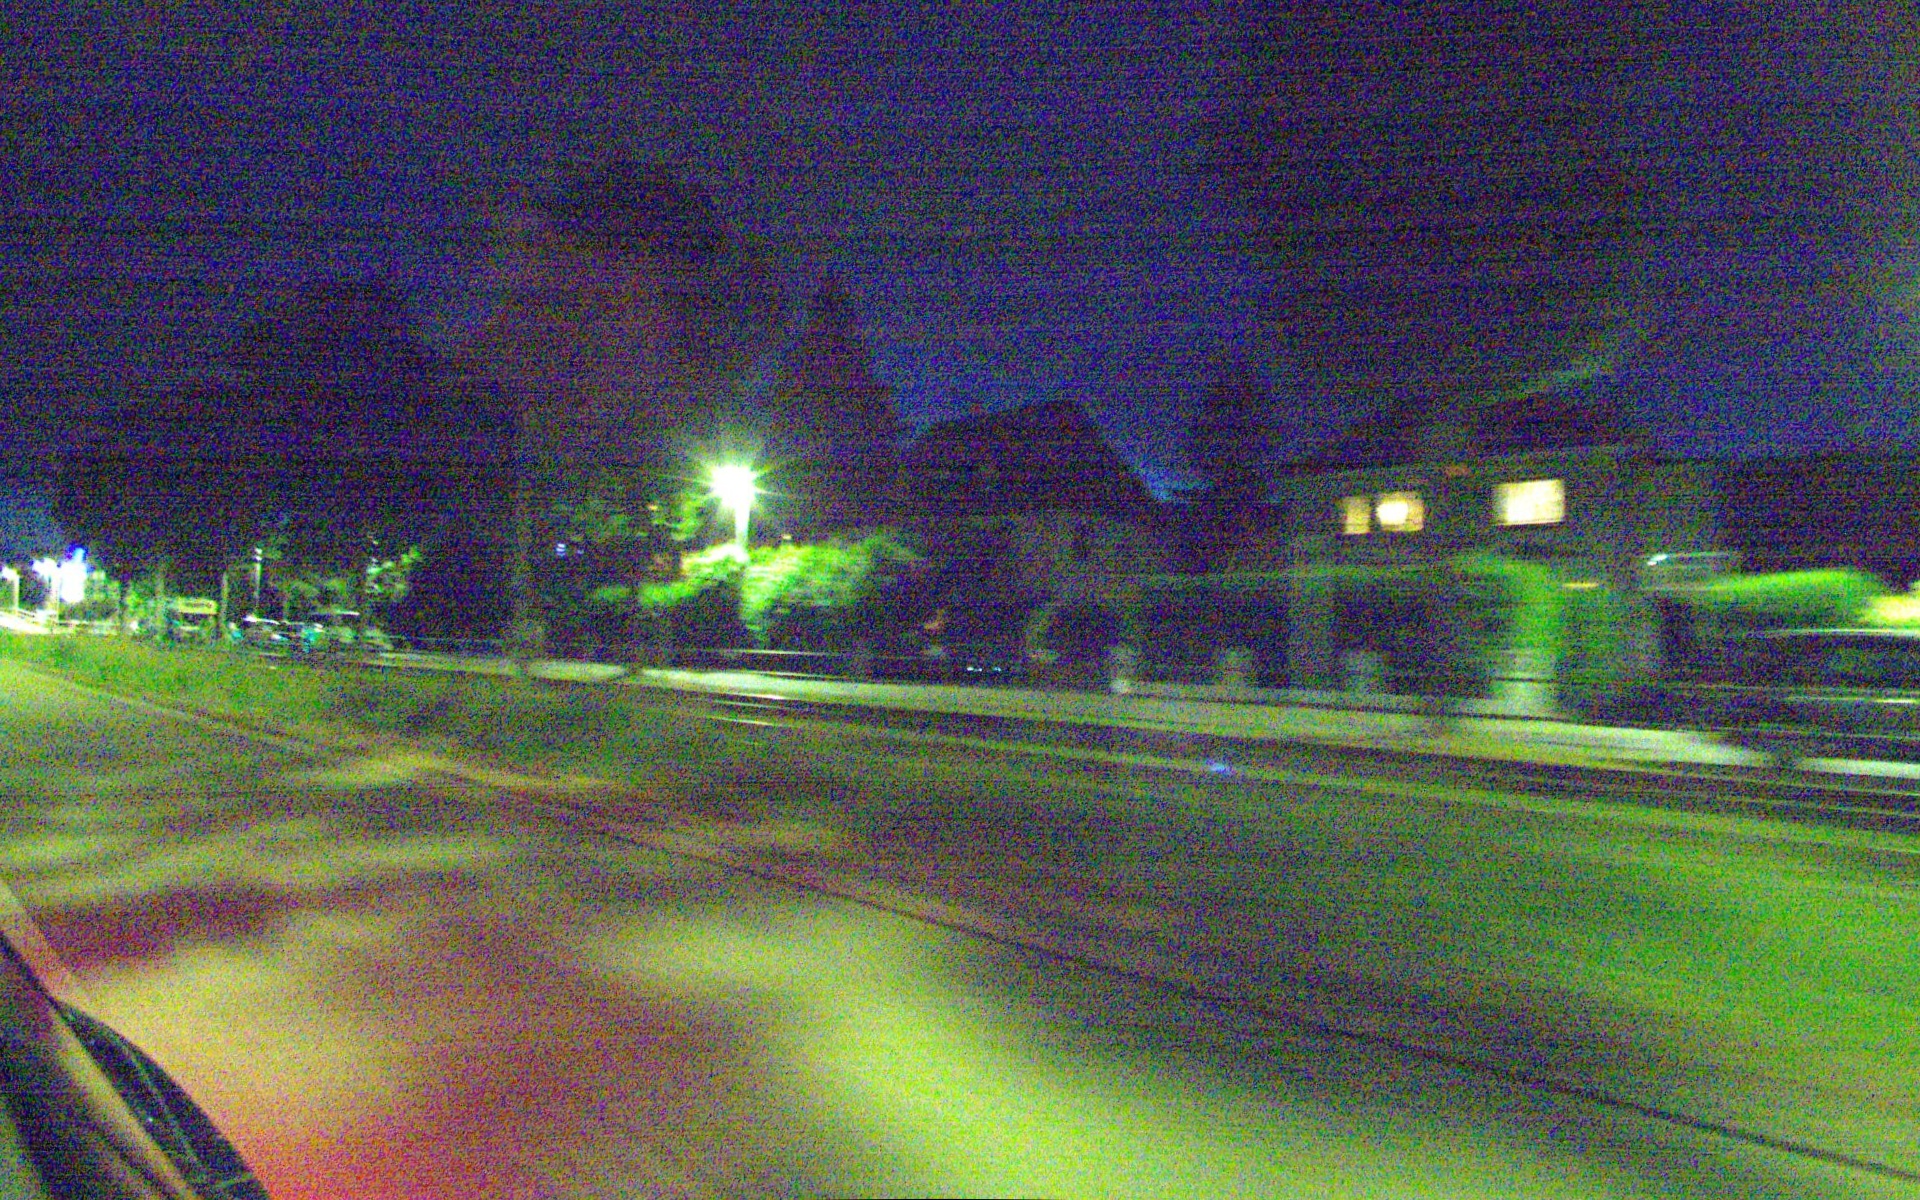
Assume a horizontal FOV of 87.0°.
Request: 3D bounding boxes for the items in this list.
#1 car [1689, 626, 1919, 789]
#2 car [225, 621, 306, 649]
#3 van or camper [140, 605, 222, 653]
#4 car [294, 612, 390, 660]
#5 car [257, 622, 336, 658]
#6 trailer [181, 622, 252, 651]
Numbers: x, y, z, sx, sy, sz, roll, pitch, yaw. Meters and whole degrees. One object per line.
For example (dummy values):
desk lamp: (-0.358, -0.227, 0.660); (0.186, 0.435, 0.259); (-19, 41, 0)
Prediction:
car: (10.699, 1.117, 10.685); (4.676, 1.640, 1.972); (-1, -2, 42)
car: (-34.475, 1.742, 50.287); (1.530, 1.336, 3.002); (0, -2, 35)
van or camper: (-46.218, 1.699, 59.996); (5.653, 2.668, 2.252); (-1, -4, 36)
car: (-25.946, 1.465, 42.440); (4.873, 1.919, 1.839); (-1, -2, 38)
car: (-30.501, 1.801, 46.459); (5.171, 1.534, 1.881); (-1, -2, 43)
trailer: (-41.058, 1.993, 55.837); (4.657, 1.385, 2.392); (-1, -6, 45)
